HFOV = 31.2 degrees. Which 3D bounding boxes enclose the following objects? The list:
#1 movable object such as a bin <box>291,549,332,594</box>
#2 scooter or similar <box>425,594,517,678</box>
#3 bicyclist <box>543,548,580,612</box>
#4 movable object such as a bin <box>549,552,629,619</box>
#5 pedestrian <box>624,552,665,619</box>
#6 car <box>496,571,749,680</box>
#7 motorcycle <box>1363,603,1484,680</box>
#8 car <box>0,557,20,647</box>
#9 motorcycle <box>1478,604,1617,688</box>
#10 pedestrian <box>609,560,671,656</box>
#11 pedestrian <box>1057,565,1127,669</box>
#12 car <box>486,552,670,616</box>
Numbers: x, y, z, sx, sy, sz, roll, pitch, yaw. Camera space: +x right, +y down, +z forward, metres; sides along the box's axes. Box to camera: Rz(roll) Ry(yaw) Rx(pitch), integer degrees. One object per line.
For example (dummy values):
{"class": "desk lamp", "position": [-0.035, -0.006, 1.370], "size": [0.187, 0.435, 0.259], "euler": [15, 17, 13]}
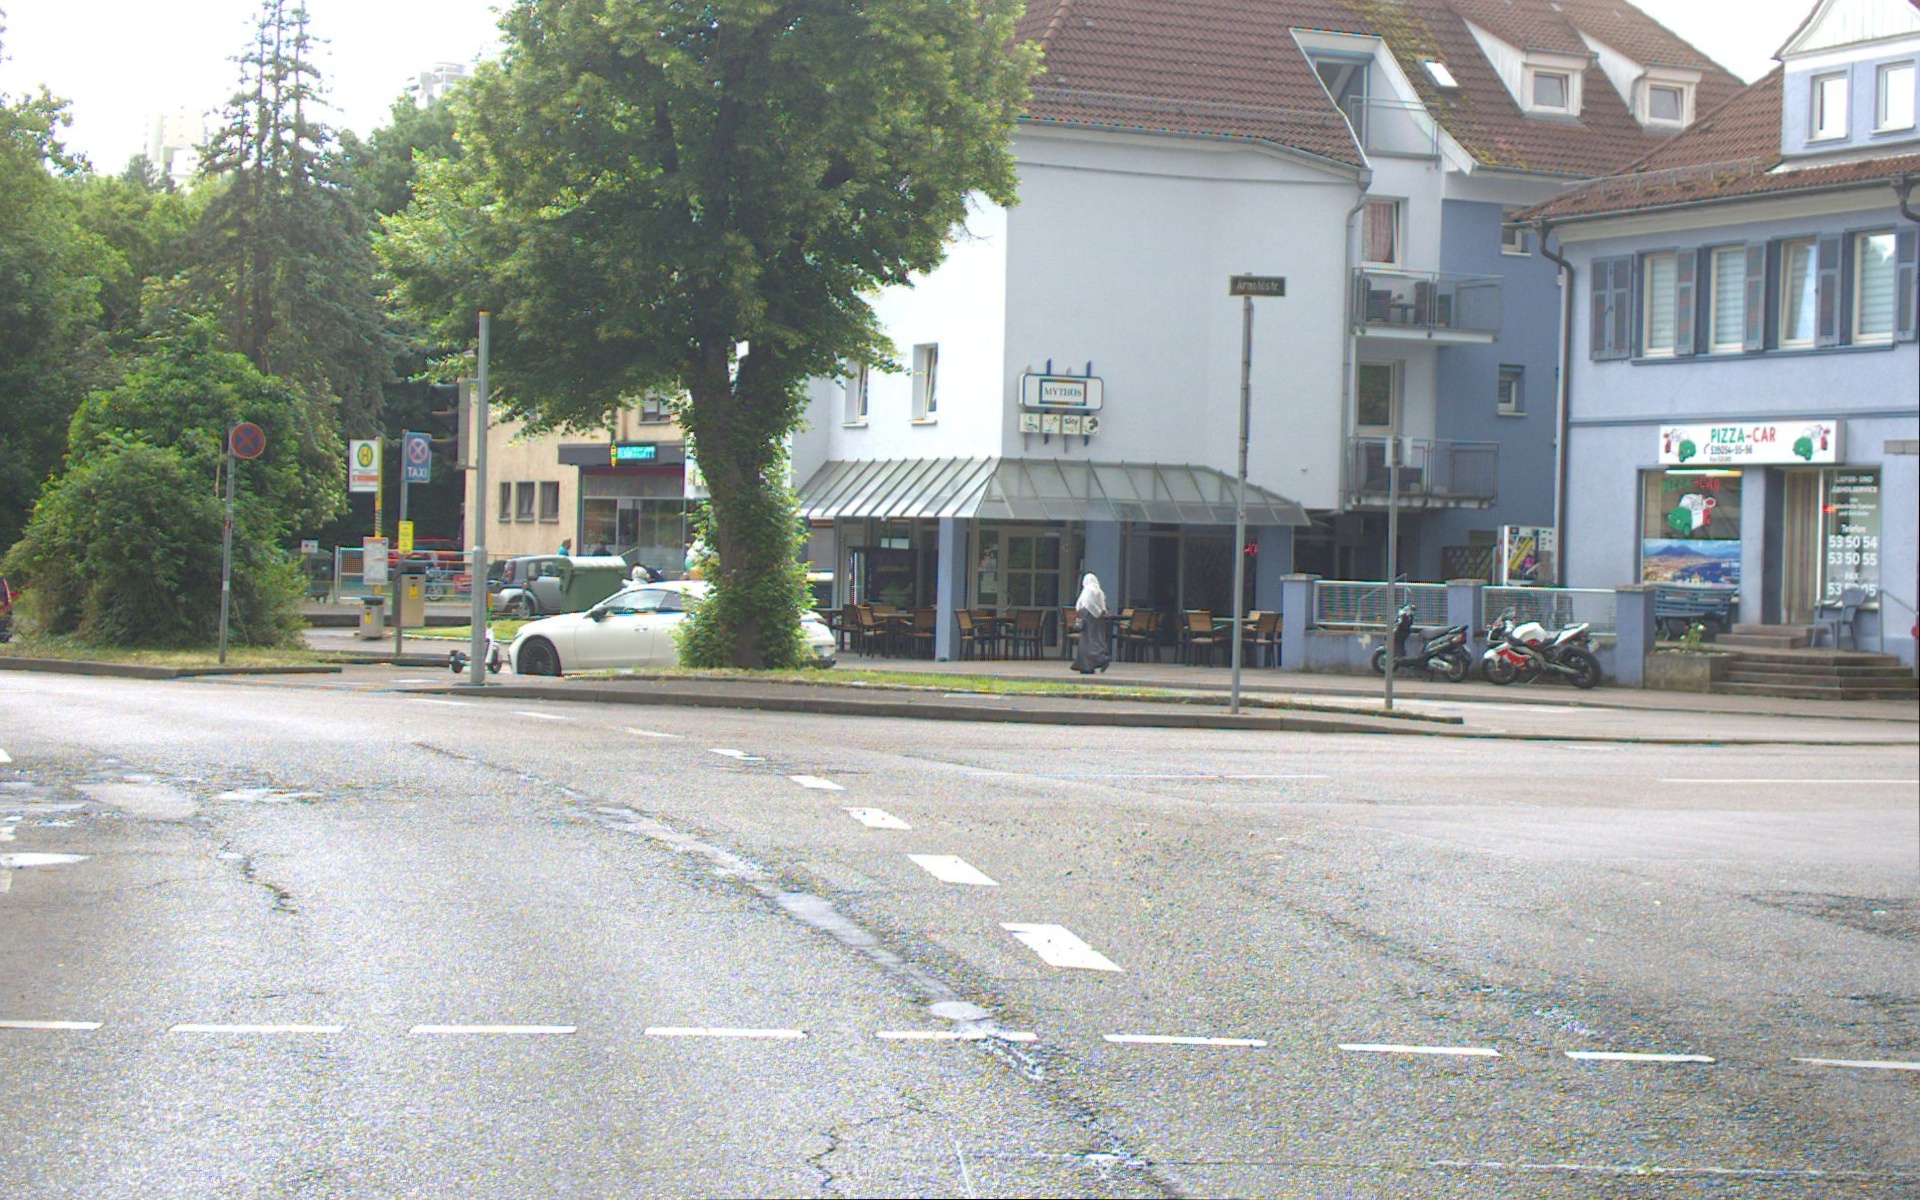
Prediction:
{"class": "movable object such as a bin", "position": [-16.246, -0.722, 86.164], "size": [0.950, 1.111, 0.383], "euler": [1, 1, -21]}
{"class": "scooter or similar", "position": [-6.057, 0.435, 42.646], "size": [0.417, 1.008, 1.565], "euler": [1, 1, 20]}
{"class": "bicyclist", "position": [-9.616, -0.484, 82.975], "size": [0.738, 1.536, 0.600], "euler": [1, 1, 11]}
{"class": "movable object such as a bin", "position": [-7.982, -0.316, 73.971], "size": [1.440, 1.404, 0.967], "euler": [1, 1, -27]}
{"class": "pedestrian", "position": [-7.396, -0.344, 80.621], "size": [0.676, 1.539, 0.708], "euler": [1, 1, -34]}
{"class": "car", "position": [-4.529, 0.320, 46.040], "size": [3.171, 1.350, 1.436], "euler": [2, 1, 35]}
{"class": "motorcycle", "position": [6.754, 0.599, 50.156], "size": [1.636, 1.060, 0.693], "euler": [2, 1, 44]}
{"class": "car", "position": [-16.512, -0.007, 53.718], "size": [3.590, 1.389, 1.469], "euler": [2, 1, 32]}
{"class": "motorcycle", "position": [8.259, 0.637, 48.378], "size": [1.798, 1.118, 0.693], "euler": [2, 1, 38]}
{"class": "pedestrian", "position": [-5.233, 0.123, 56.236], "size": [0.707, 1.539, 0.677], "euler": [2, 1, 40]}
{"class": "pedestrian", "position": [1.989, 0.257, 51.837], "size": [0.768, 1.539, 0.677], "euler": [1, 1, 39]}
{"class": "car", "position": [-8.425, -0.358, 75.868], "size": [3.733, 1.340, 1.434], "euler": [1, 1, -26]}
